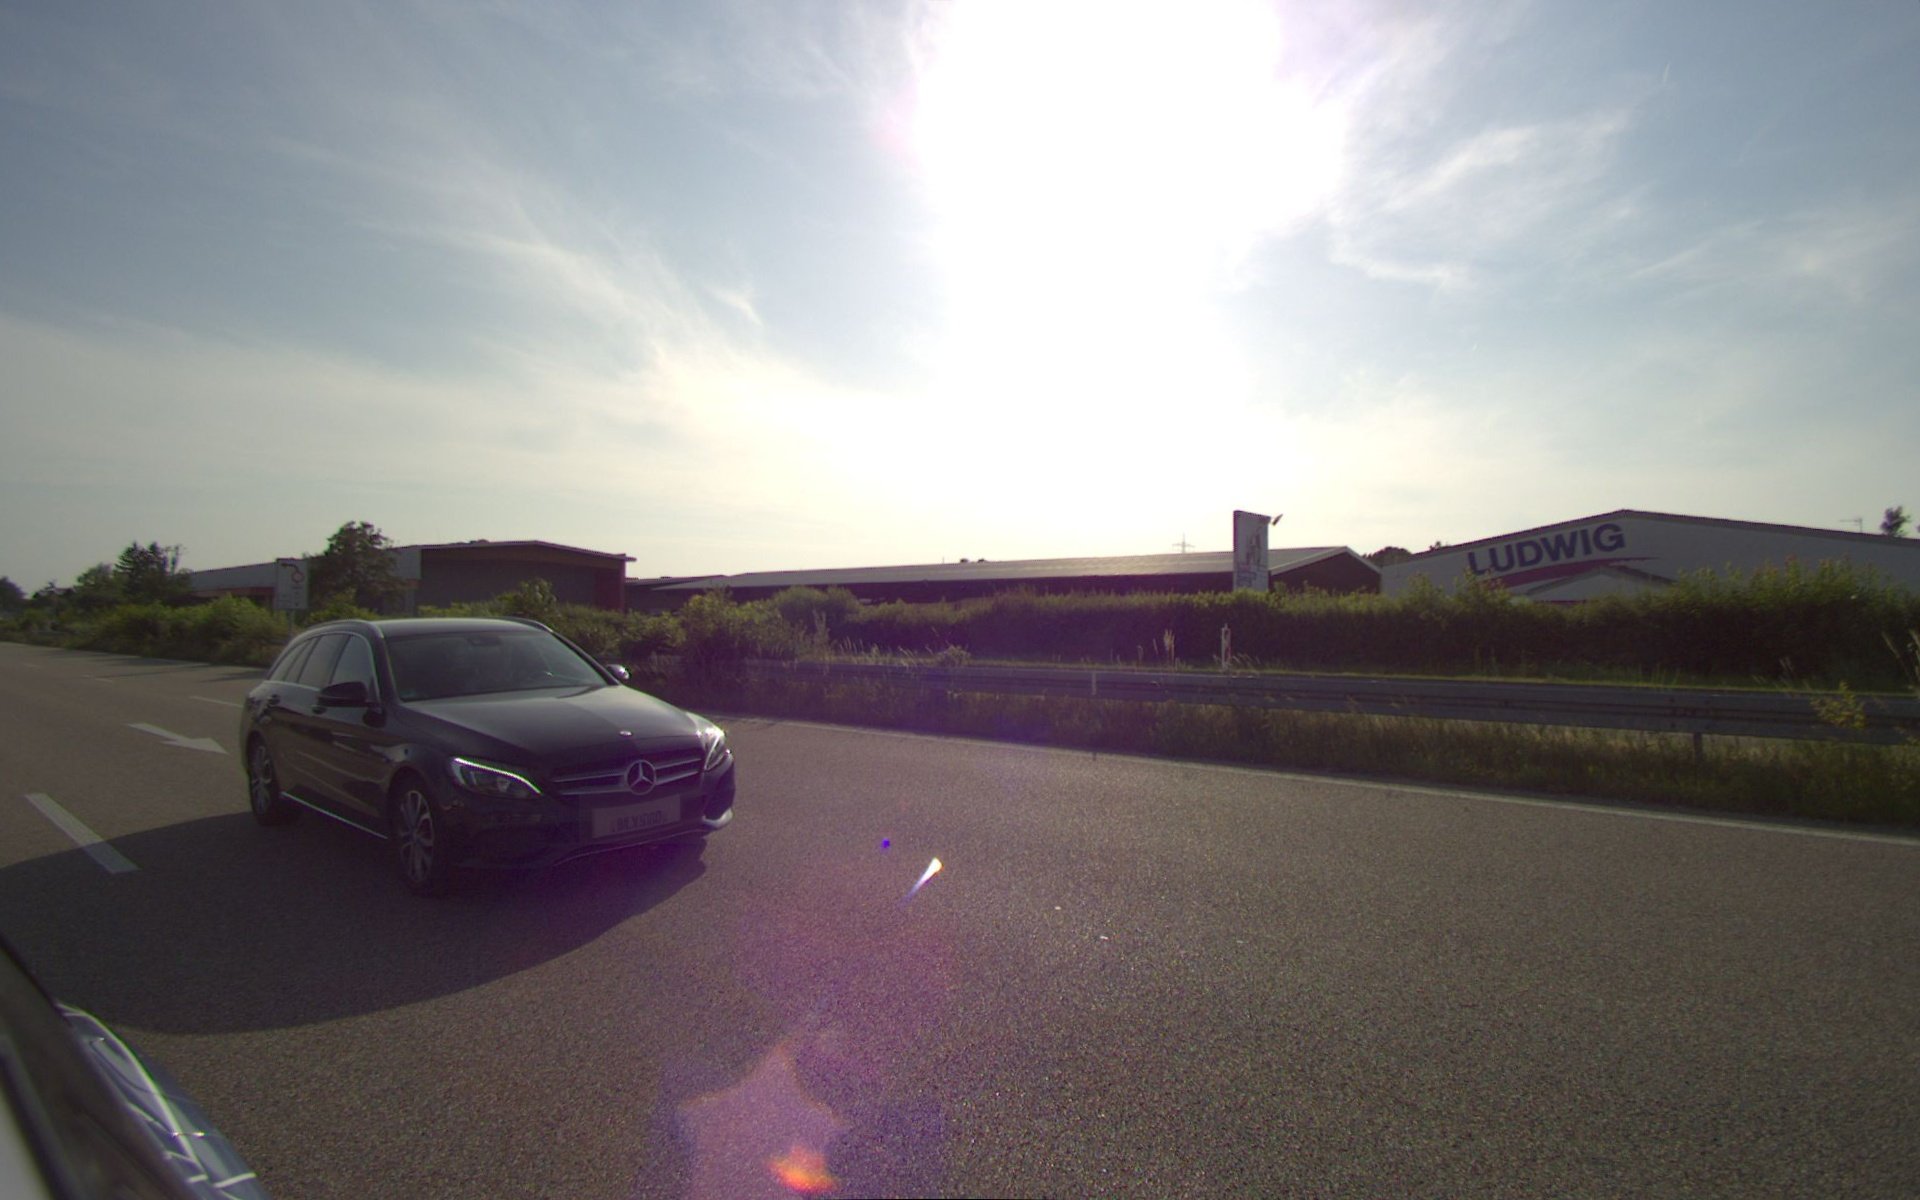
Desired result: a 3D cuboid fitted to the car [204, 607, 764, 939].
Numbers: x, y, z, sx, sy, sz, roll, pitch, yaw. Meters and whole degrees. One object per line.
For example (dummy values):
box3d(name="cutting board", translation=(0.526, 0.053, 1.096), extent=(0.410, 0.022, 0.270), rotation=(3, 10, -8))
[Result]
box3d(name="car", translation=(-3.488, 0.817, 6.787), extent=(5.020, 1.482, 1.556), rotation=(-1, -1, 42))
